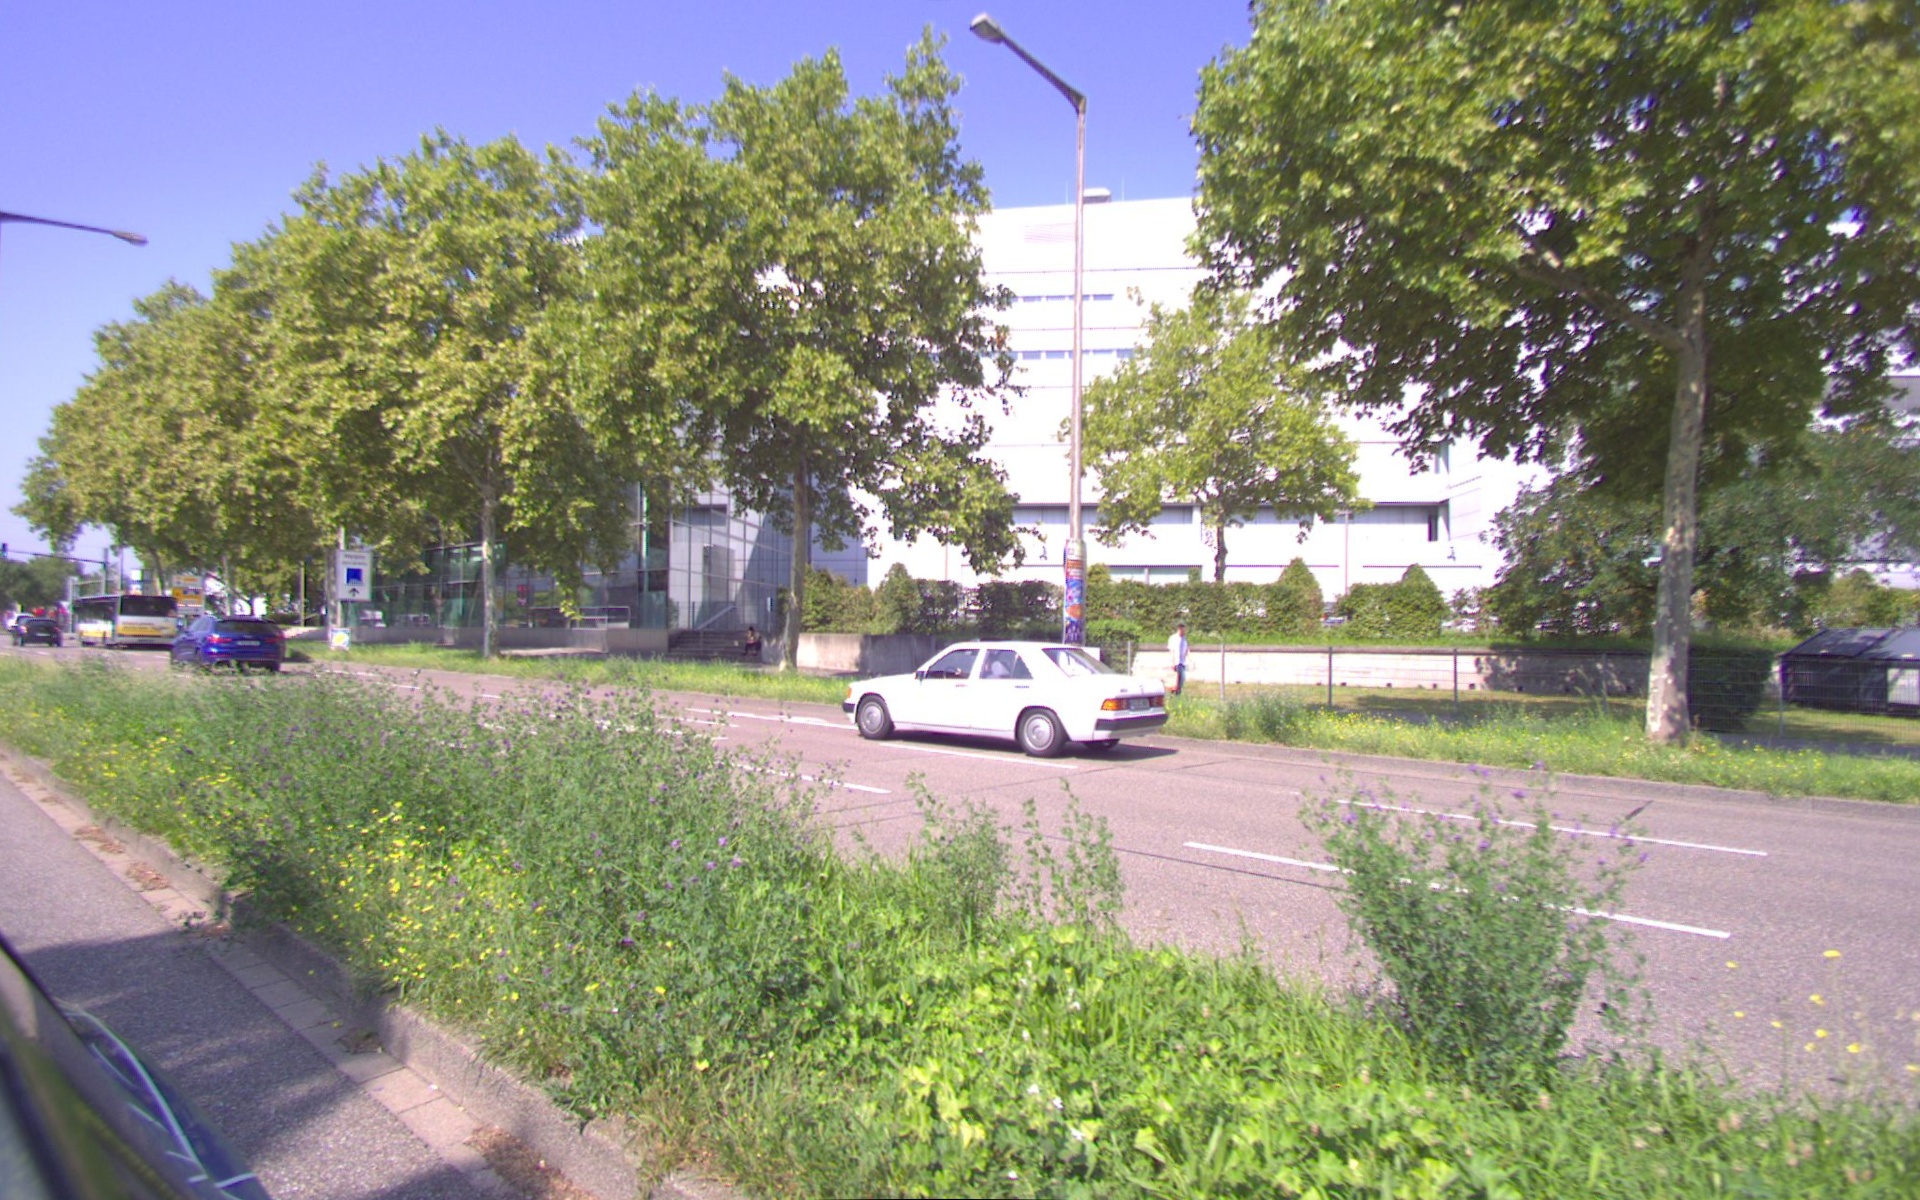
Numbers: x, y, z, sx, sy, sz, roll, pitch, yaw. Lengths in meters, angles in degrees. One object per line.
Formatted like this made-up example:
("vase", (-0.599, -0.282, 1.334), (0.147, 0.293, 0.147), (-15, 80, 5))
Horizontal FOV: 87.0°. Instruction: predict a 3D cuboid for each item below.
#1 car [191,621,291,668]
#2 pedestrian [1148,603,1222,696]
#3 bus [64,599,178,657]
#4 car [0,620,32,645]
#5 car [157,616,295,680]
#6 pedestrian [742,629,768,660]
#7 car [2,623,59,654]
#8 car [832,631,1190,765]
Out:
("car", (-26.142, 1.559, 36.764), (4.606, 1.617, 1.827), (-1, -2, 40))
("pedestrian", (5.124, 1.116, 23.085), (1.246, 2.029, 1.019), (-1, -3, -17))
("bus", (-43.709, 1.438, 52.555), (10.899, 2.715, 2.634), (-1, -4, 41))
("car", (-75.905, 2.611, 80.875), (3.972, 1.910, 1.908), (-1, -4, 40))
("car", (-19.993, 1.310, 27.518), (4.343, 1.597, 1.973), (-2, -5, 40))
("pedestrian", (-7.602, 1.636, 37.474), (0.561, 1.118, 0.728), (-4, -3, 36))
("car", (-47.633, 1.929, 51.856), (4.310, 1.501, 1.687), (-1, -2, 41))
("car", (0.563, 1.168, 13.142), (4.403, 1.428, 1.778), (-1, -4, 37))
